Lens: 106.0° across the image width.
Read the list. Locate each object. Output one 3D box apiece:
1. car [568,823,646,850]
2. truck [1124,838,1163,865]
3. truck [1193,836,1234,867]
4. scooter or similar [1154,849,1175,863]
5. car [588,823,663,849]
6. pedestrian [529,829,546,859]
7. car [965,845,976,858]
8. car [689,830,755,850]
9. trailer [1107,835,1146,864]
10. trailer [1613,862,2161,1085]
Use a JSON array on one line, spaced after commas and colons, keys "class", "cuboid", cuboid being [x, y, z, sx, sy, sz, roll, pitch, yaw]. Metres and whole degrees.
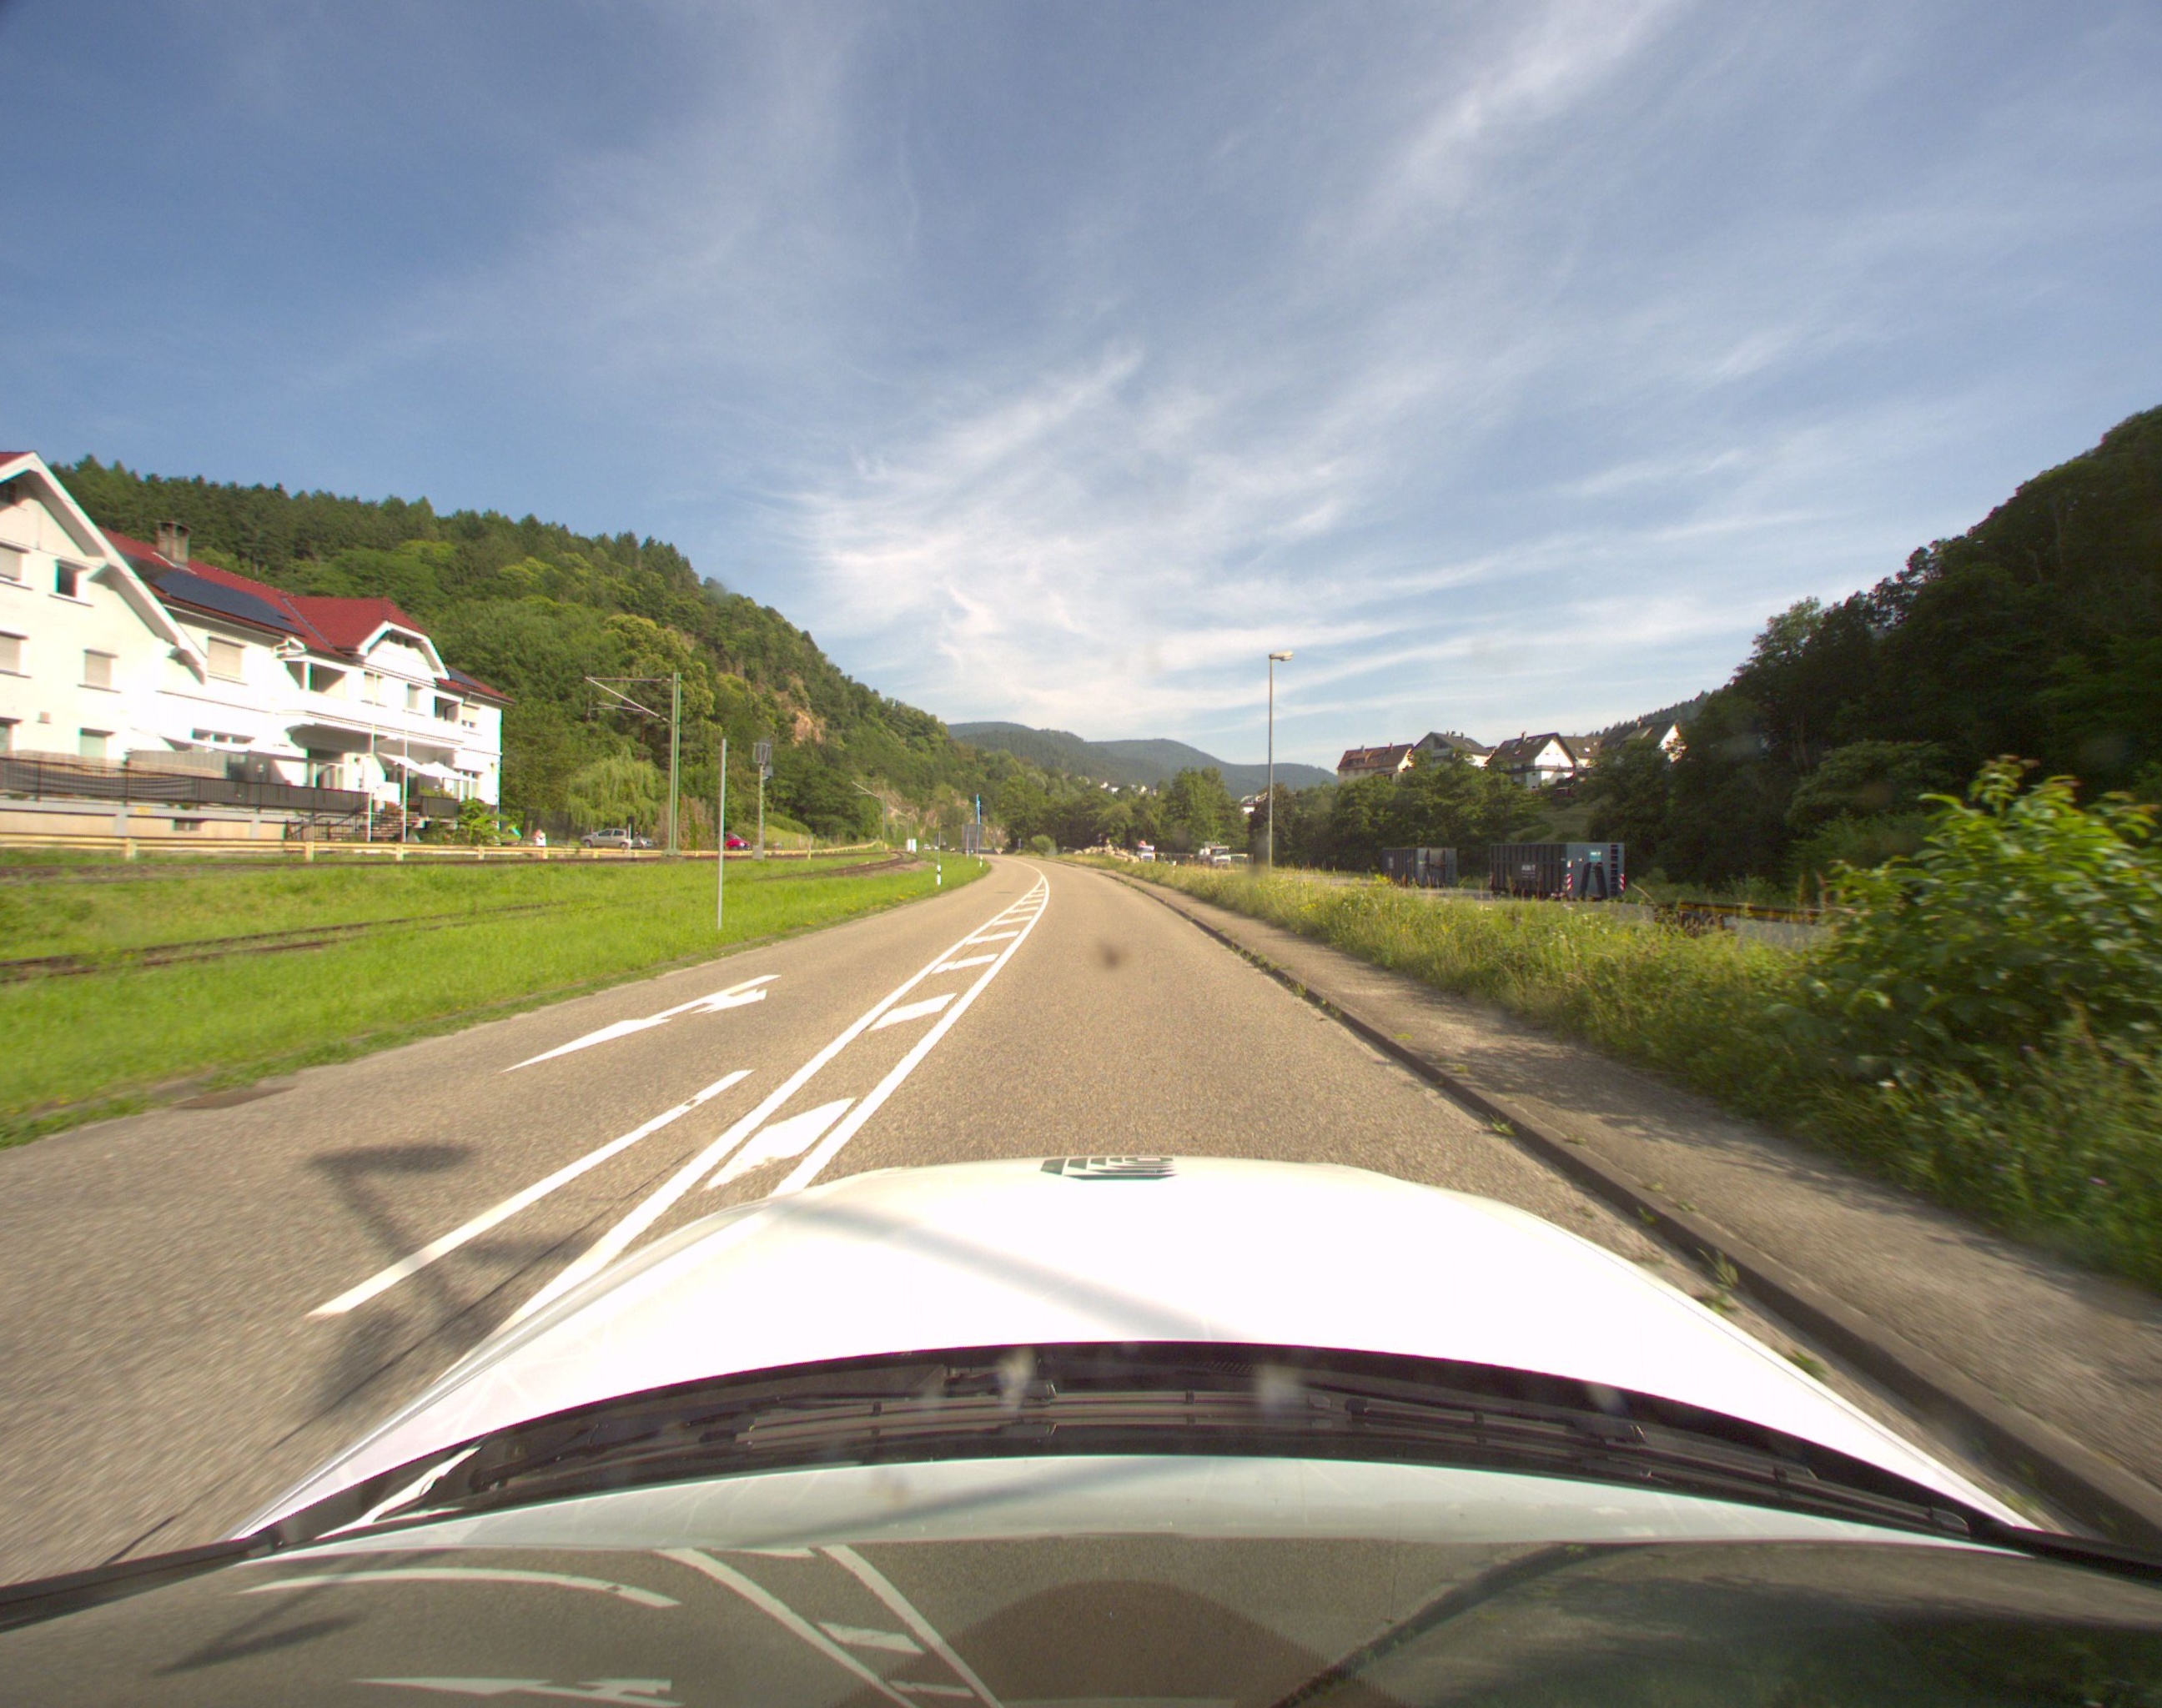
[{"class": "car", "cuboid": [-32.481, -1.177, 55.898, 4.133, 1.691, 1.999, 1, 0, -2]}, {"class": "truck", "cuboid": [9.274, -0.383, 121.692, 3.108, 3.782, 8.603, 2, 0, -14]}, {"class": "truck", "cuboid": [16.958, -0.365, 104.852, 3.099, 3.782, 8.628, 2, 0, -6]}, {"class": "scooter or similar", "cuboid": [12.397, 0.276, 121.136, 1.994, 2.013, 3.985, 0, 1, -11]}, {"class": "car", "cuboid": [-32.547, -1.260, 58.295, 4.133, 1.691, 1.999, 1, 0, -2]}, {"class": "pedestrian", "cuboid": [-29.913, -0.535, 44.843, 0.681, 1.616, 0.601, 2, 0, -41]}, {"class": "car", "cuboid": [-22.995, -0.516, 168.981, 2.126, 2.615, 5.464, -1, 1, -8]}, {"class": "car", "cuboid": [-33.295, -1.267, 75.692, 4.946, 1.691, 2.456, 1, 0, 1]}, {"class": "trailer", "cuboid": [7.149, -0.671, 130.656, 3.370, 4.274, 9.861, 2, 0, -14]}, {"class": "trailer", "cuboid": [8.937, 0.937, 6.652, 2.782, 1.474, 9.887, 3, 0, 1]}]
